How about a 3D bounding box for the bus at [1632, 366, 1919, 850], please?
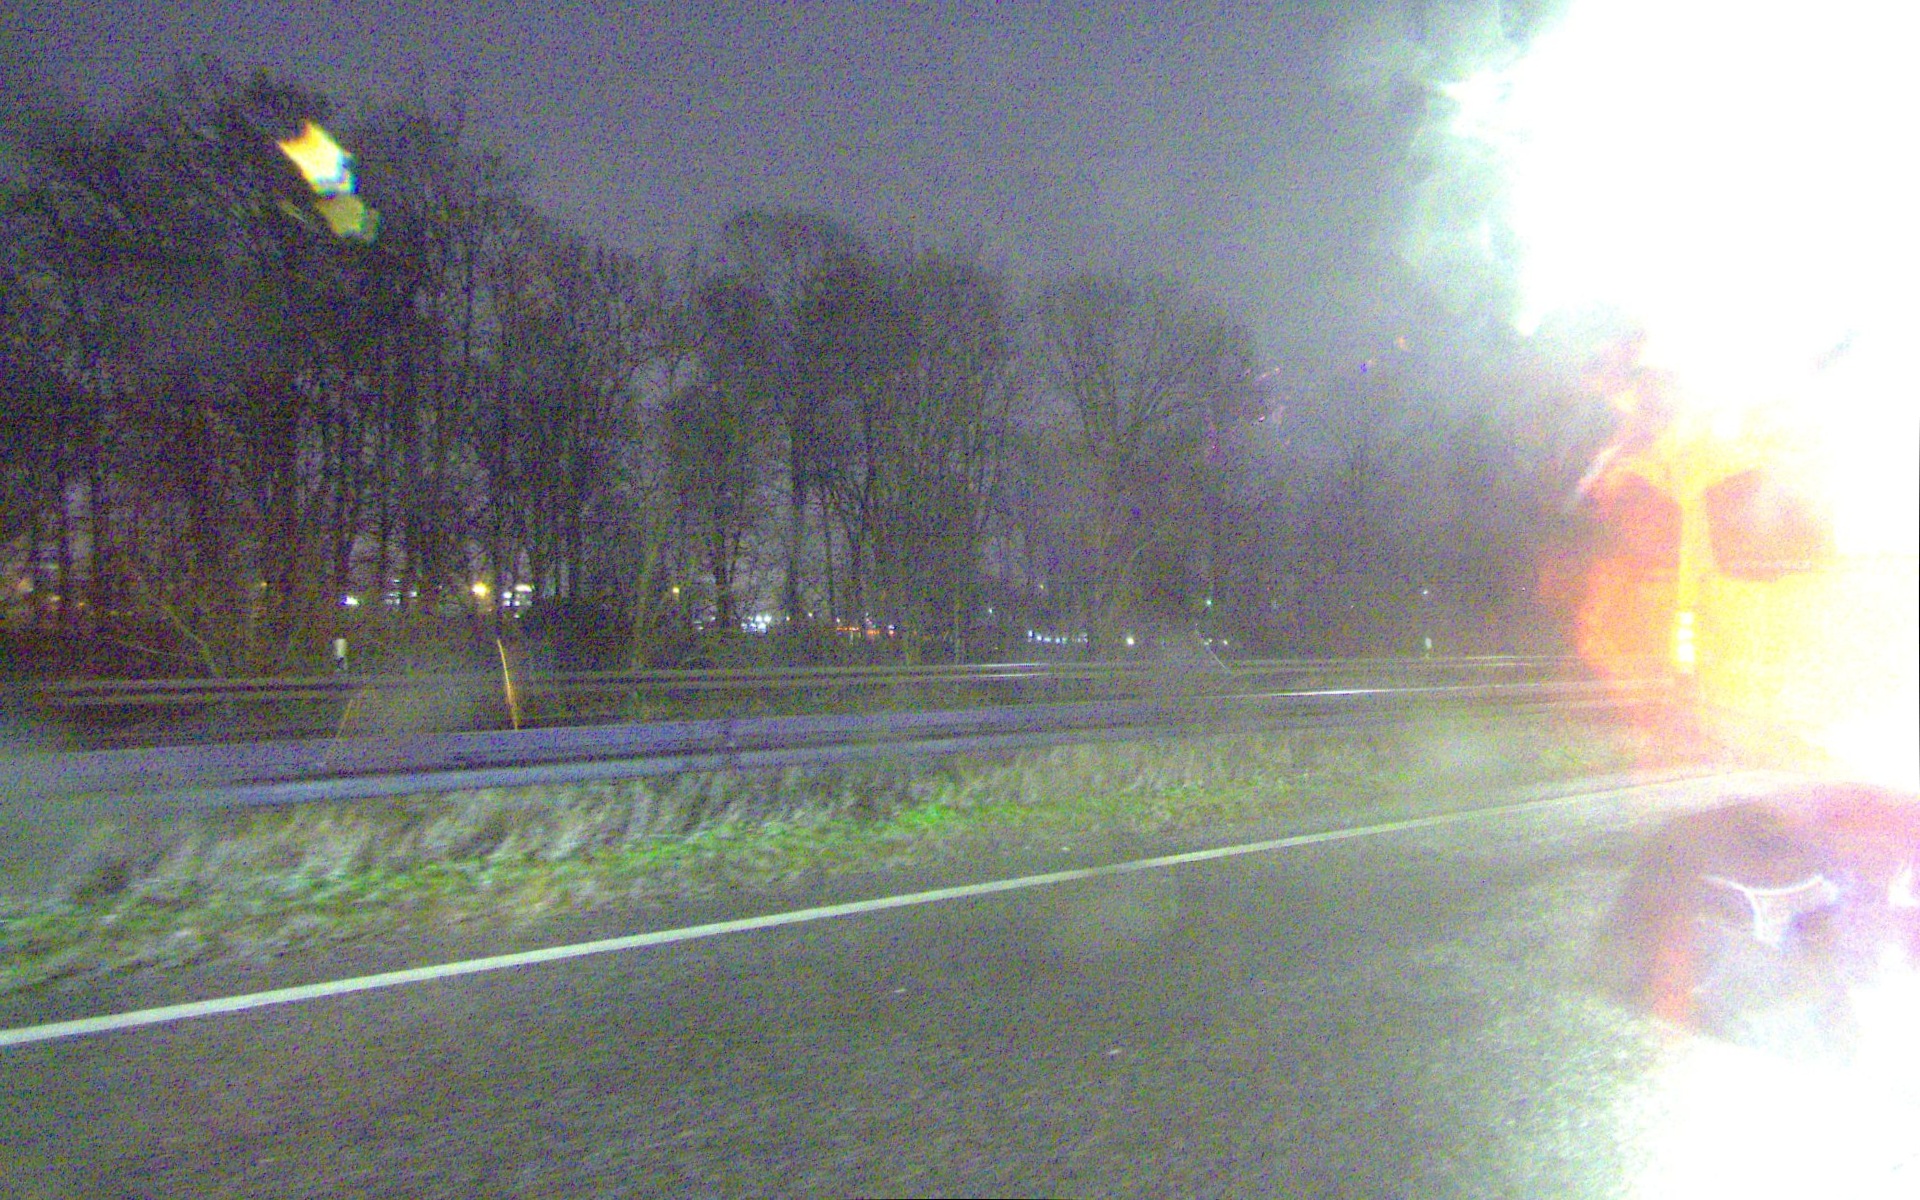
[{"bbox_3d":[9.575,0.122,8.885,8.591,3.064,2.800,1,0,-32],"label":"bus"}]
